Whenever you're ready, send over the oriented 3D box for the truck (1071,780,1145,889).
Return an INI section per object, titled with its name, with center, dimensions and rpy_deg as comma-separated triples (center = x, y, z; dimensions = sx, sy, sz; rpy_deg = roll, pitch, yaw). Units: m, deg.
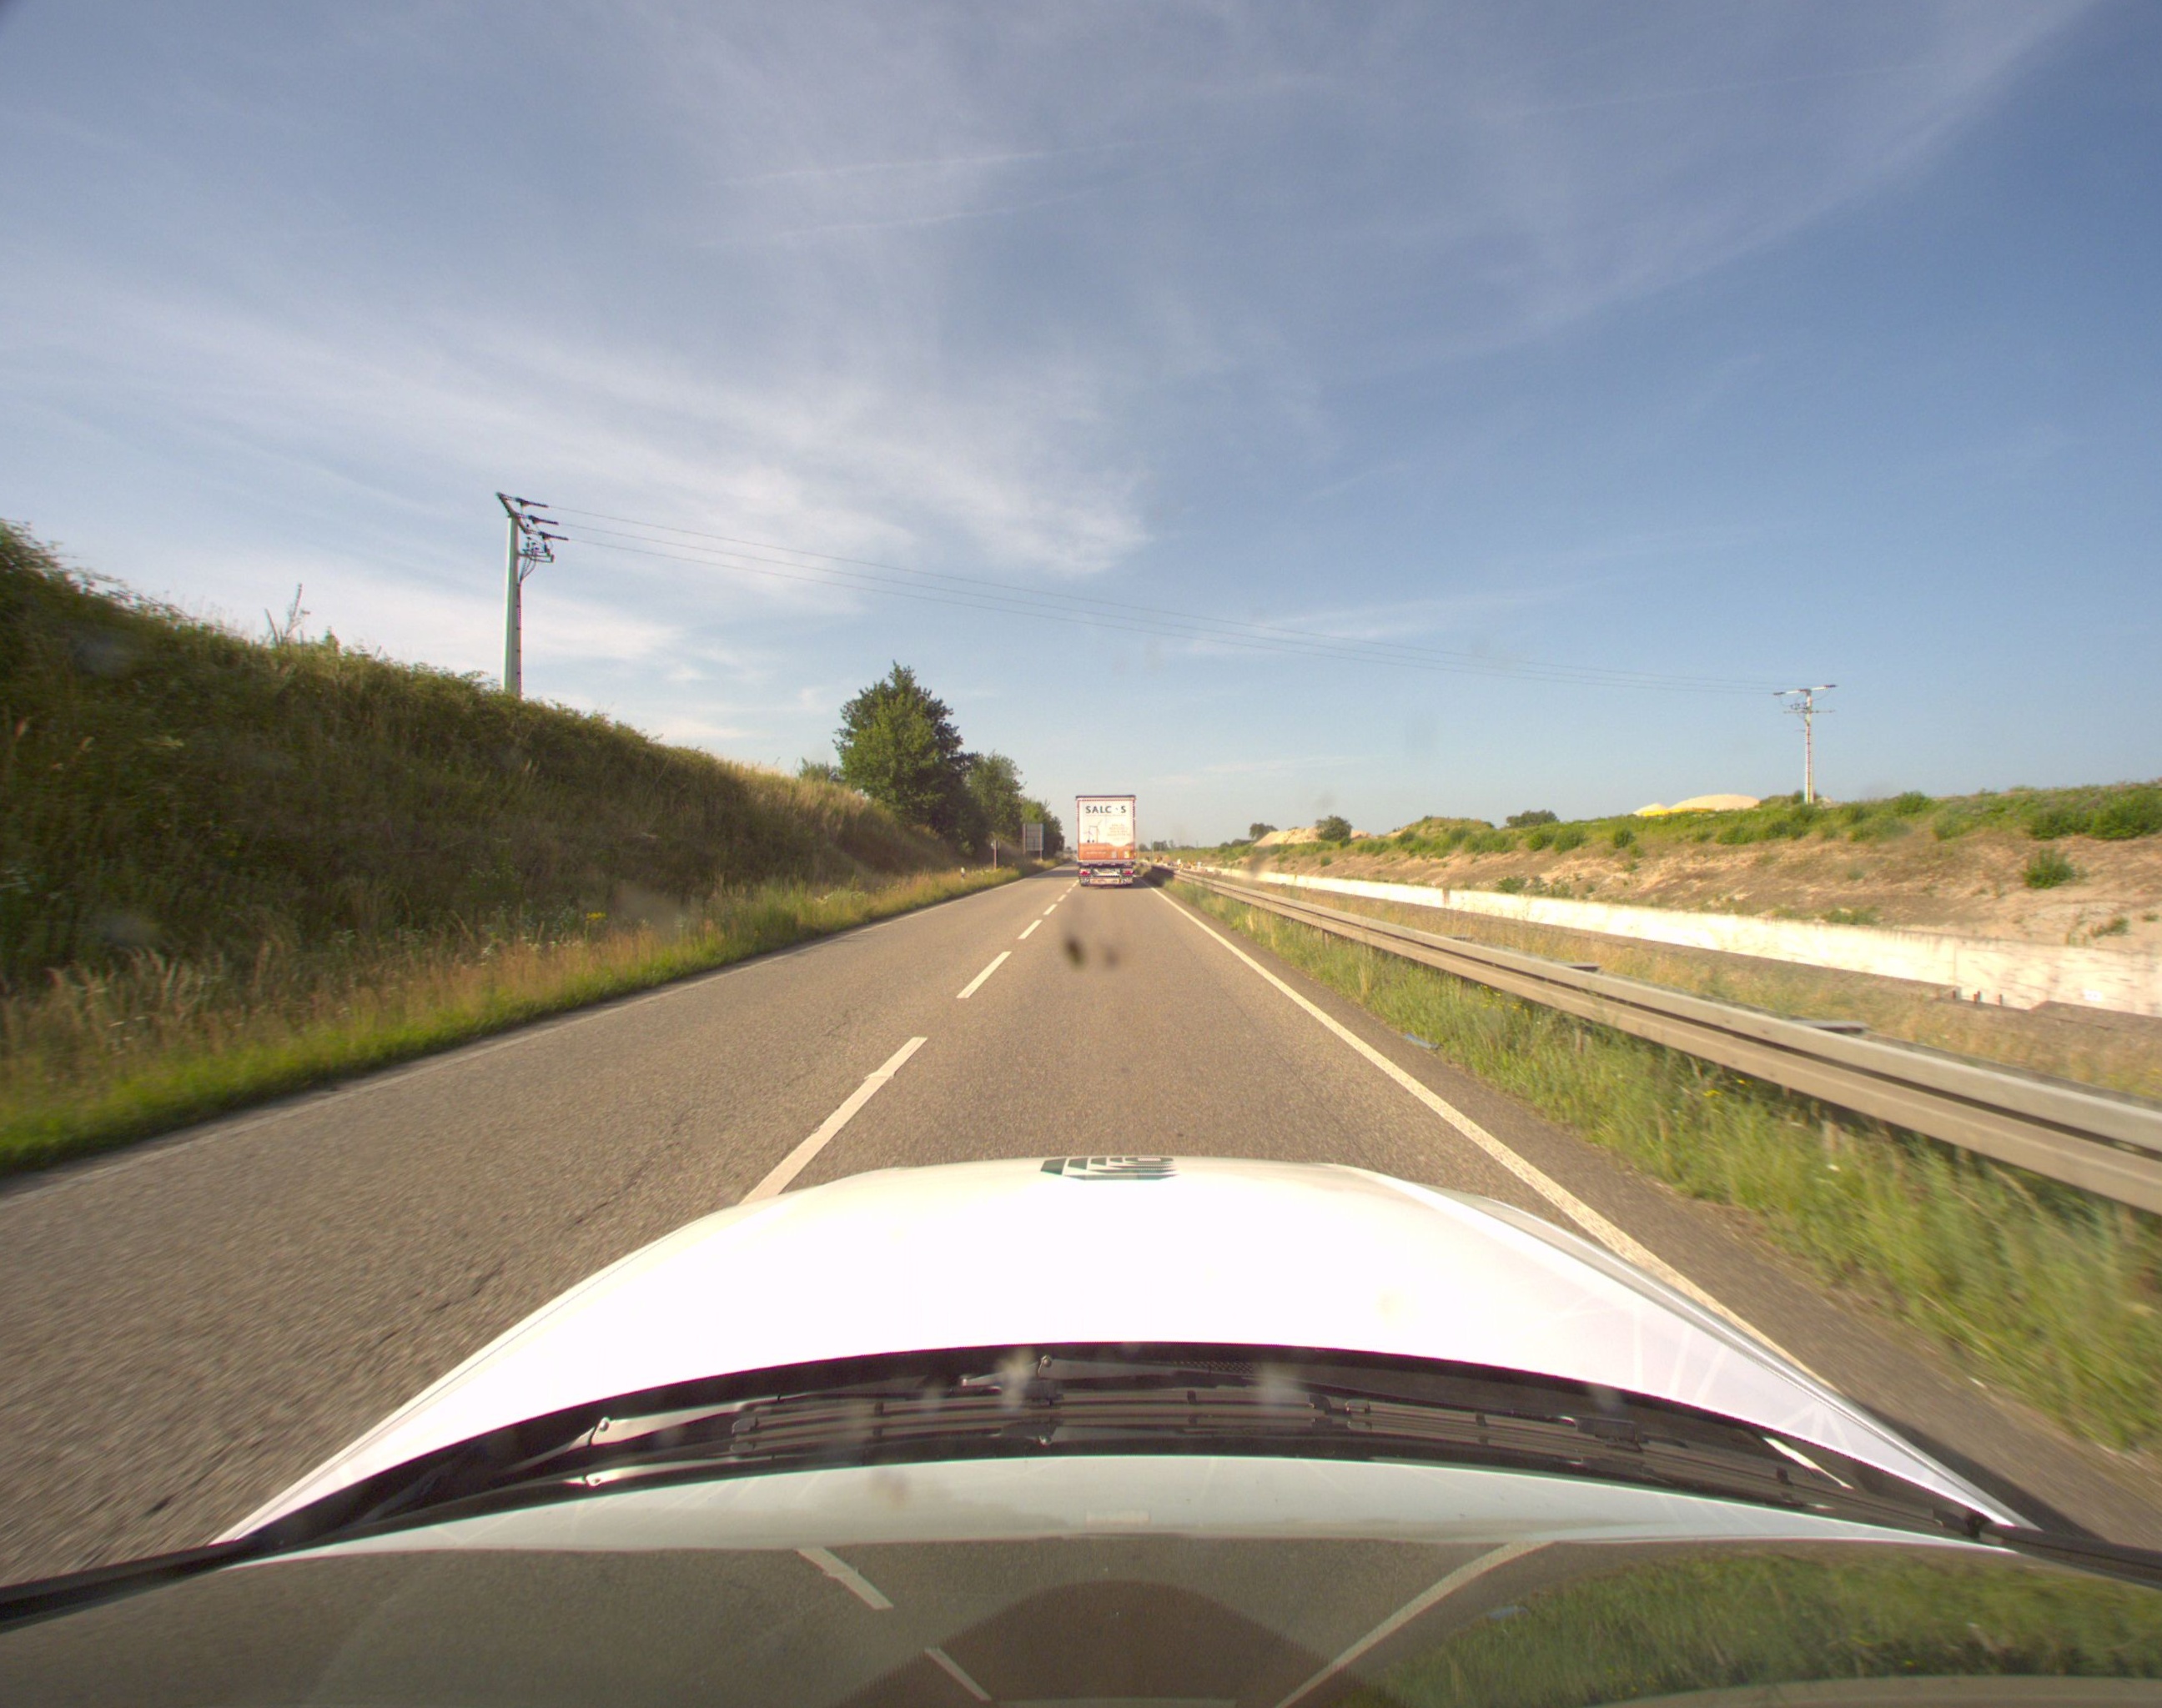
[truck]
center = 1.189, -0.852, 39.507
dimensions = 3.143, 4.688, 8.440
rpy_deg = -1, 0, 0
